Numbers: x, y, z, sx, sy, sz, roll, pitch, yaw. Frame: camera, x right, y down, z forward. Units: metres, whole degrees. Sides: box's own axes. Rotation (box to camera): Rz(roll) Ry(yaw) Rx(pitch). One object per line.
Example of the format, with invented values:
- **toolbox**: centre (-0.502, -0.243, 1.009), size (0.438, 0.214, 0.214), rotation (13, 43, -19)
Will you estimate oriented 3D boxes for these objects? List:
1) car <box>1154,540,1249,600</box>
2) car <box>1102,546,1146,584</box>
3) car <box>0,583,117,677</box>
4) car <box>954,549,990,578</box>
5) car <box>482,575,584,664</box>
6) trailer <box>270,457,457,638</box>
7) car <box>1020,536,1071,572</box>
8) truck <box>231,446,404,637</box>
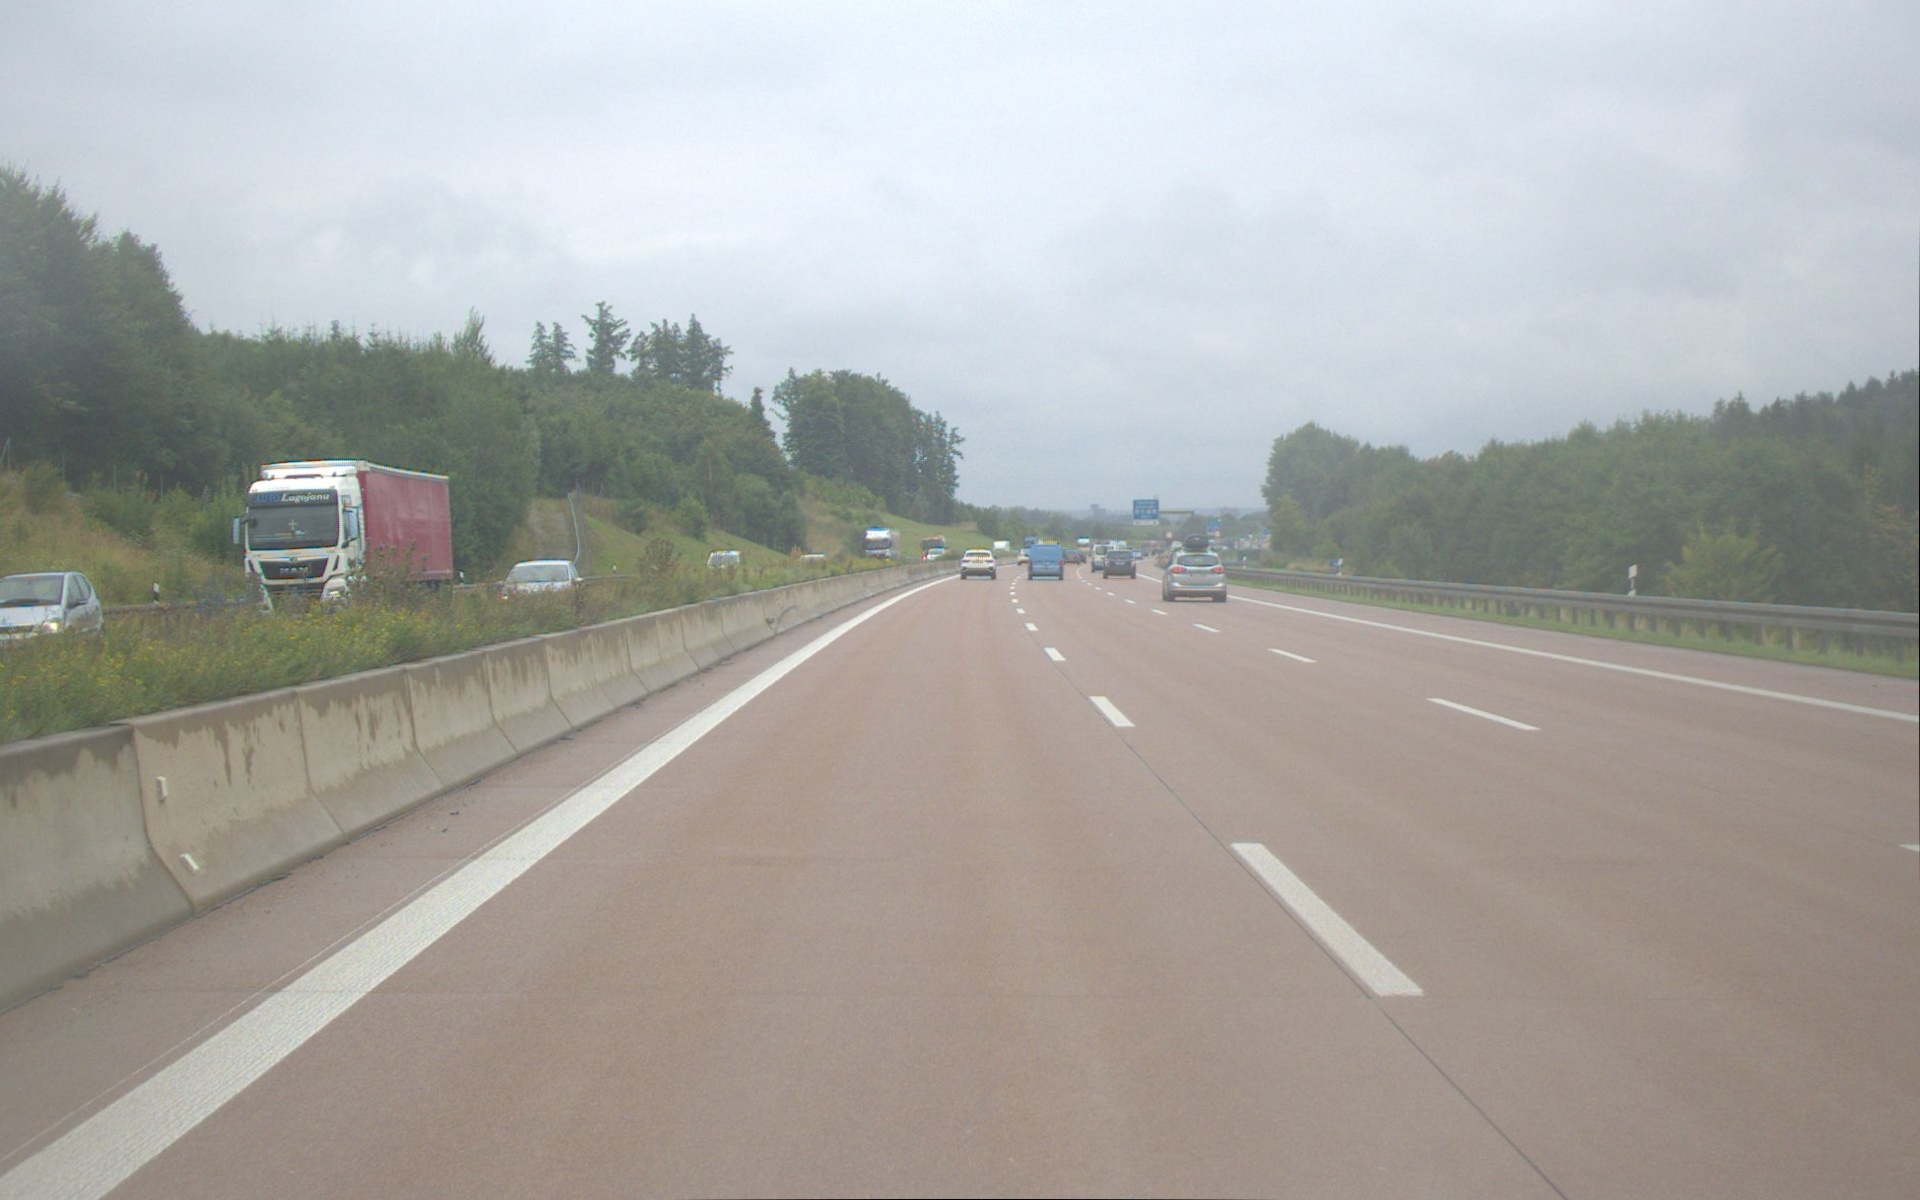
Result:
- **car**: centre (7.393, -0.892, 105.520), size (2.322, 1.744, 4.877), rotation (1, 0, -3)
- **car**: centre (9.038, -1.901, 189.967), size (1.993, 2.007, 4.000), rotation (1, 0, -3)
- **car**: centre (-16.300, 0.518, 60.148), size (1.993, 1.570, 4.524), rotation (-1, 0, 0)
- **car**: centre (0.649, -1.901, 180.837), size (1.874, 1.439, 4.877), rotation (1, 0, 1)
- **car**: centre (-8.868, 0.404, 71.674), size (1.702, 1.779, 4.414), rotation (1, 0, -2)
- **trailer**: centre (-15.778, -1.297, 91.881), size (2.941, 4.473, 11.775), rotation (1, 0, 0)
- **car**: centre (4.482, -2.400, 180.762), size (2.322, 1.744, 4.877), rotation (1, 0, -3)
- **truck**: centre (-15.716, -1.367, 84.574), size (2.950, 4.462, 6.792), rotation (1, 0, 0)
